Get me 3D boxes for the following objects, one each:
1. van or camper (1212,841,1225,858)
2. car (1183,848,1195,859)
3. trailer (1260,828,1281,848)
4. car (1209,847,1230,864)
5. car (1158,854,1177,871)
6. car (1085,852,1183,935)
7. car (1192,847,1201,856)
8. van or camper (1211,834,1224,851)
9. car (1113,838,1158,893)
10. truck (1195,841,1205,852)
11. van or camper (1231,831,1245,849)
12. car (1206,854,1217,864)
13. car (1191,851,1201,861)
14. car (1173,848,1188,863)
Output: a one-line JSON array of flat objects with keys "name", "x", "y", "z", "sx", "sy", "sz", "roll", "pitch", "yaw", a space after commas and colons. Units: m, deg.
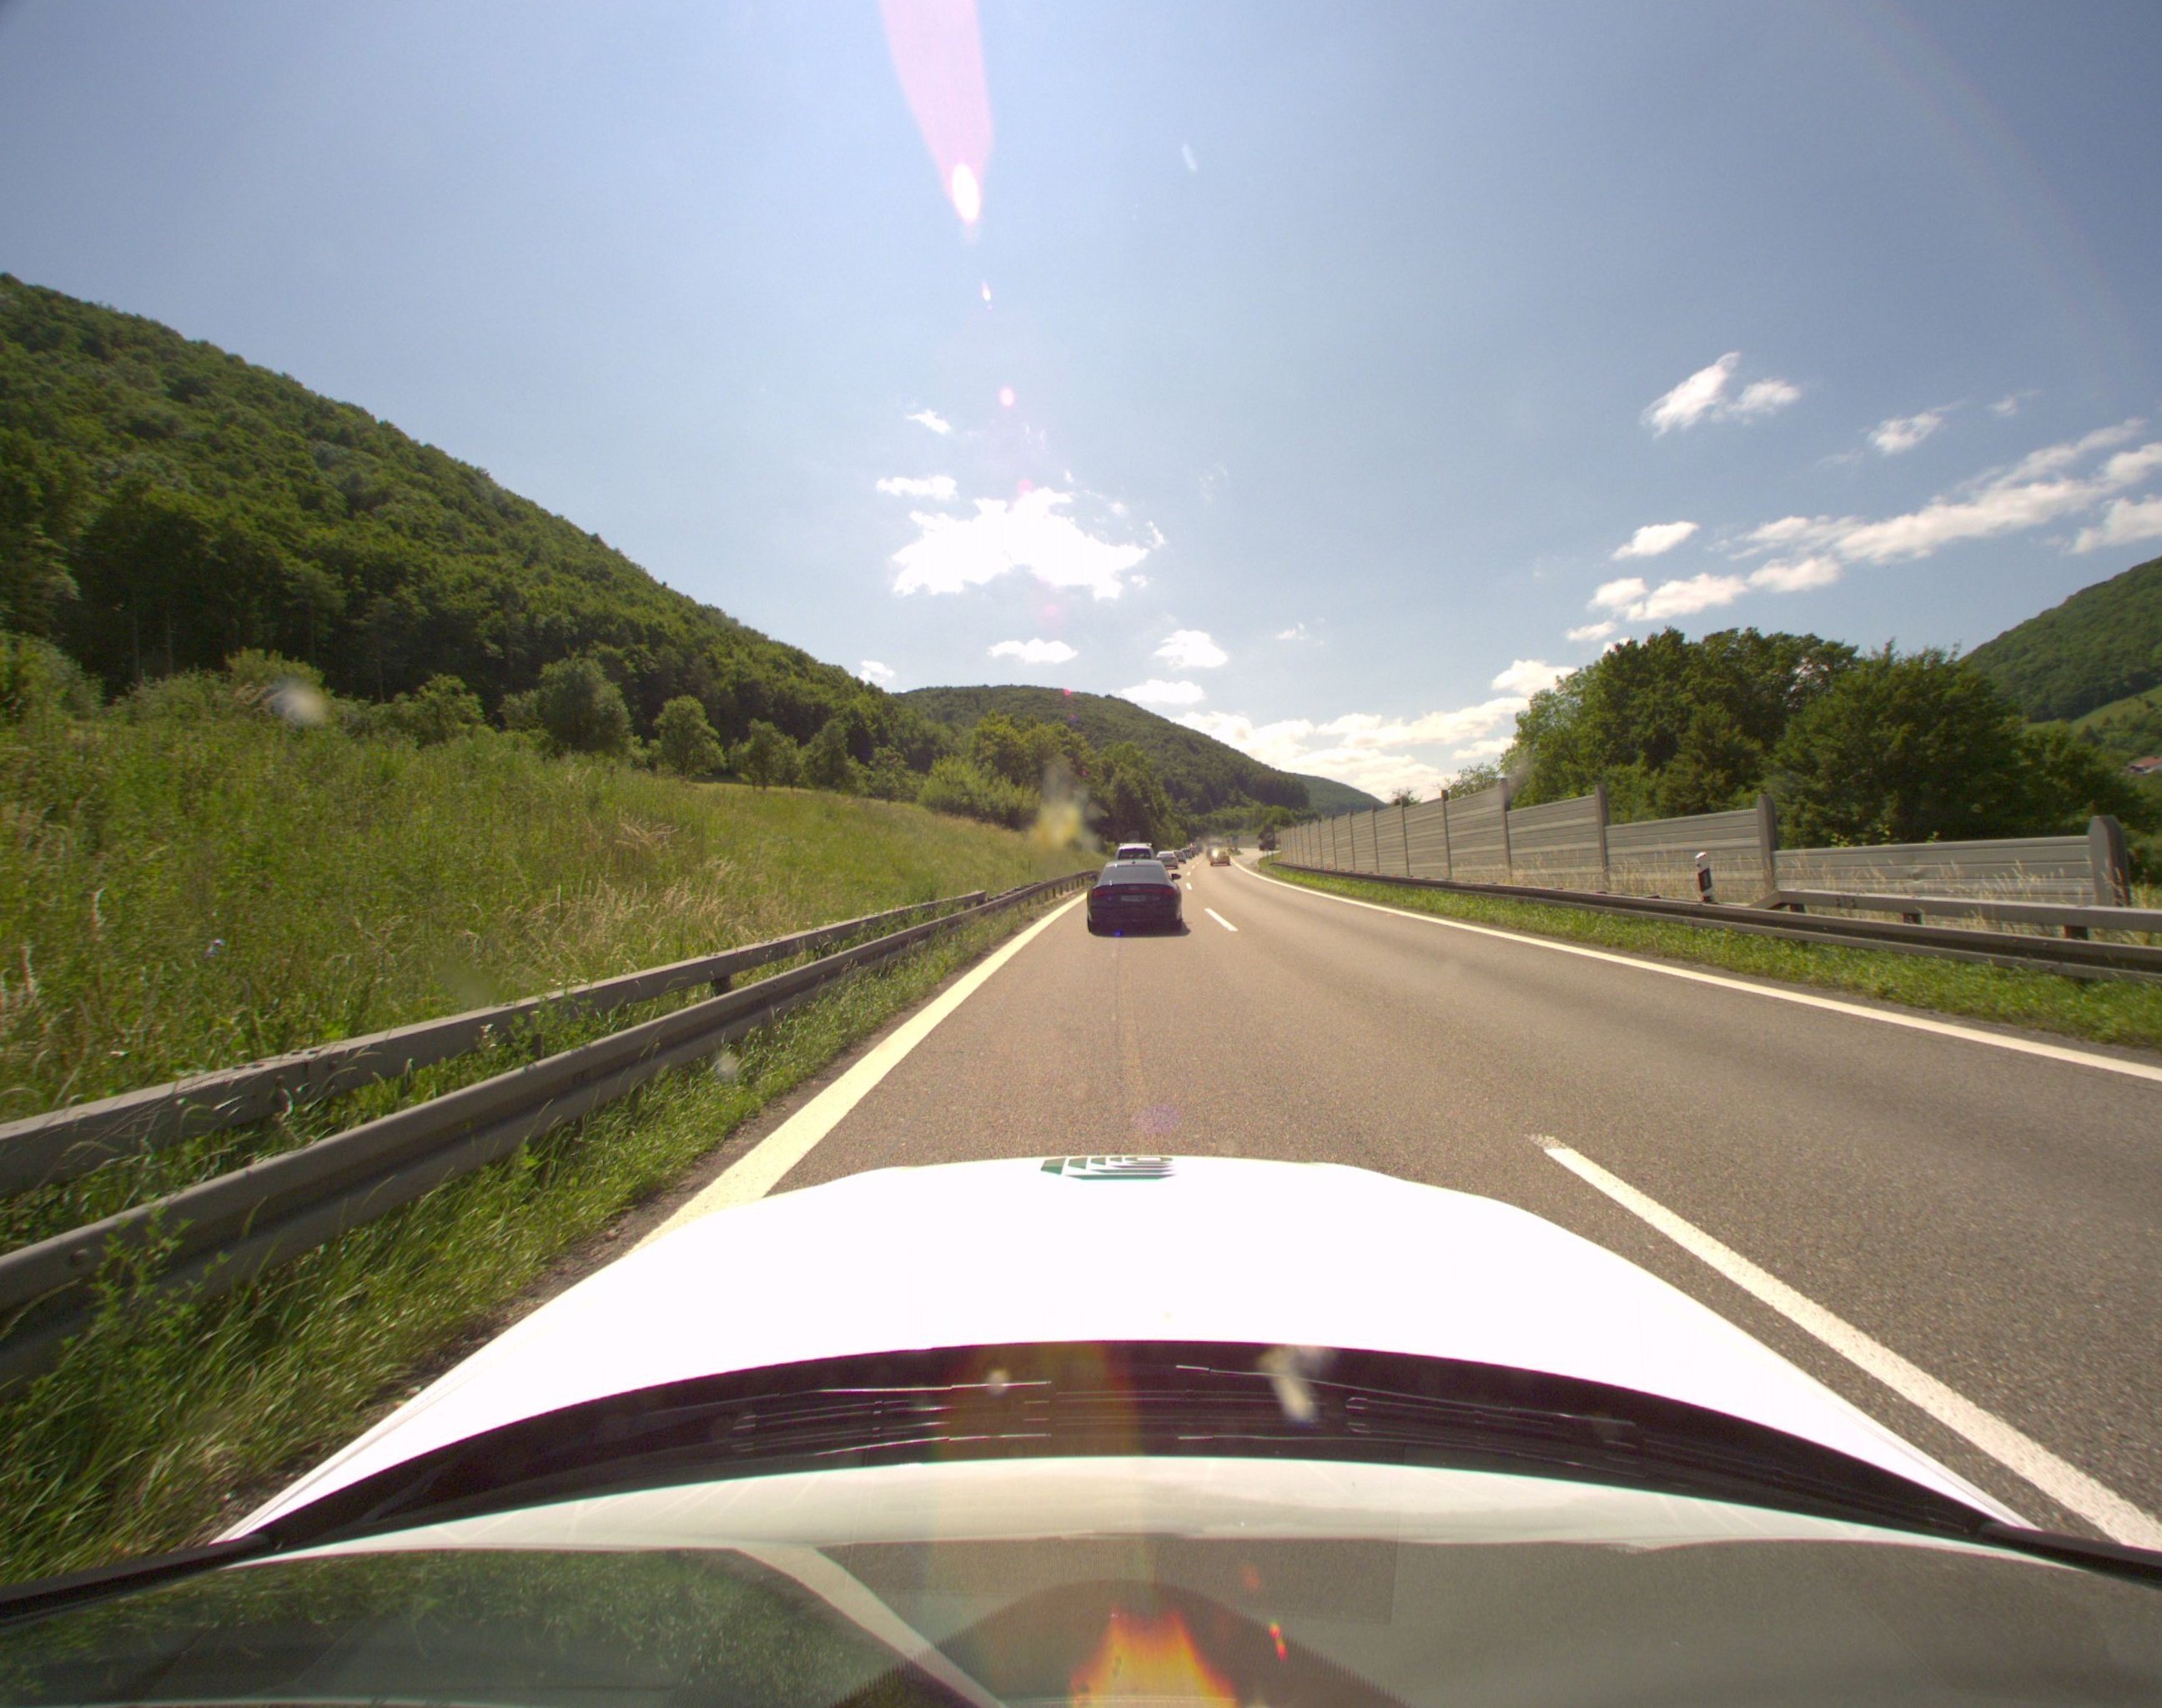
[{"name": "van or camper", "x": 25.284, "y": -0.829, "z": 149.611, "sx": 2.415, "sy": 3.155, "sz": 5.217, "roll": 0, "pitch": 0, "yaw": 10}, {"name": "car", "x": 15.989, "y": -0.119, "z": 120.079, "sx": 1.511, "sy": 1.553, "sz": 3.525, "roll": 0, "pitch": 0, "yaw": 11}, {"name": "trailer", "x": 39.517, "y": -3.291, "z": 169.722, "sx": 3.391, "sy": 3.900, "sz": 11.180, "roll": -2, "pitch": 0, "yaw": 9}, {"name": "car", "x": 12.832, "y": 0.114, "z": 75.475, "sx": 1.867, "sy": 1.499, "sz": 4.011, "roll": -2, "pitch": 0, "yaw": 10}, {"name": "car", "x": 7.259, "y": 0.693, "z": 67.981, "sx": 1.513, "sy": 1.294, "sz": 3.521, "roll": 0, "pitch": 0, "yaw": 7}, {"name": "car", "x": 1.050, "y": 0.736, "z": 16.950, "sx": 1.805, "sy": 1.514, "sz": 3.516, "roll": -1, "pitch": 0, "yaw": 2}, {"name": "car", "x": 22.179, "y": -0.474, "z": 156.942, "sx": 1.511, "sy": 1.553, "sz": 3.525, "roll": 0, "pitch": 0, "yaw": 11}, {"name": "van or camper", "x": 32.603, "y": -2.805, "z": 194.782, "sx": 2.779, "sy": 3.907, "sz": 6.180, "roll": 0, "pitch": 0, "yaw": 8}, {"name": "car", "x": 2.145, "y": 0.411, "z": 31.268, "sx": 1.513, "sy": 1.968, "sz": 3.521, "roll": 0, "pitch": 0, "yaw": 7}, {"name": "truck", "x": 29.148, "y": -1.855, "z": 198.843, "sx": 2.051, "sy": 2.605, "sz": 5.631, "roll": 0, "pitch": 0, "yaw": 11}, {"name": "van or camper", "x": 34.633, "y": -2.991, "z": 179.884, "sx": 2.779, "sy": 3.841, "sz": 6.180, "roll": 0, "pitch": 0, "yaw": 8}, {"name": "car", "x": 19.531, "y": 0.791, "z": 122.084, "sx": 1.520, "sy": 1.525, "sz": 3.606, "roll": 0, "pitch": 0, "yaw": 10}, {"name": "car", "x": 19.366, "y": 0.358, "z": 137.128, "sx": 1.511, "sy": 1.553, "sz": 3.526, "roll": 0, "pitch": 0, "yaw": 12}, {"name": "car", "x": 10.863, "y": 0.154, "z": 88.879, "sx": 1.512, "sy": 1.553, "sz": 3.524, "roll": 0, "pitch": 0, "yaw": 10}]
